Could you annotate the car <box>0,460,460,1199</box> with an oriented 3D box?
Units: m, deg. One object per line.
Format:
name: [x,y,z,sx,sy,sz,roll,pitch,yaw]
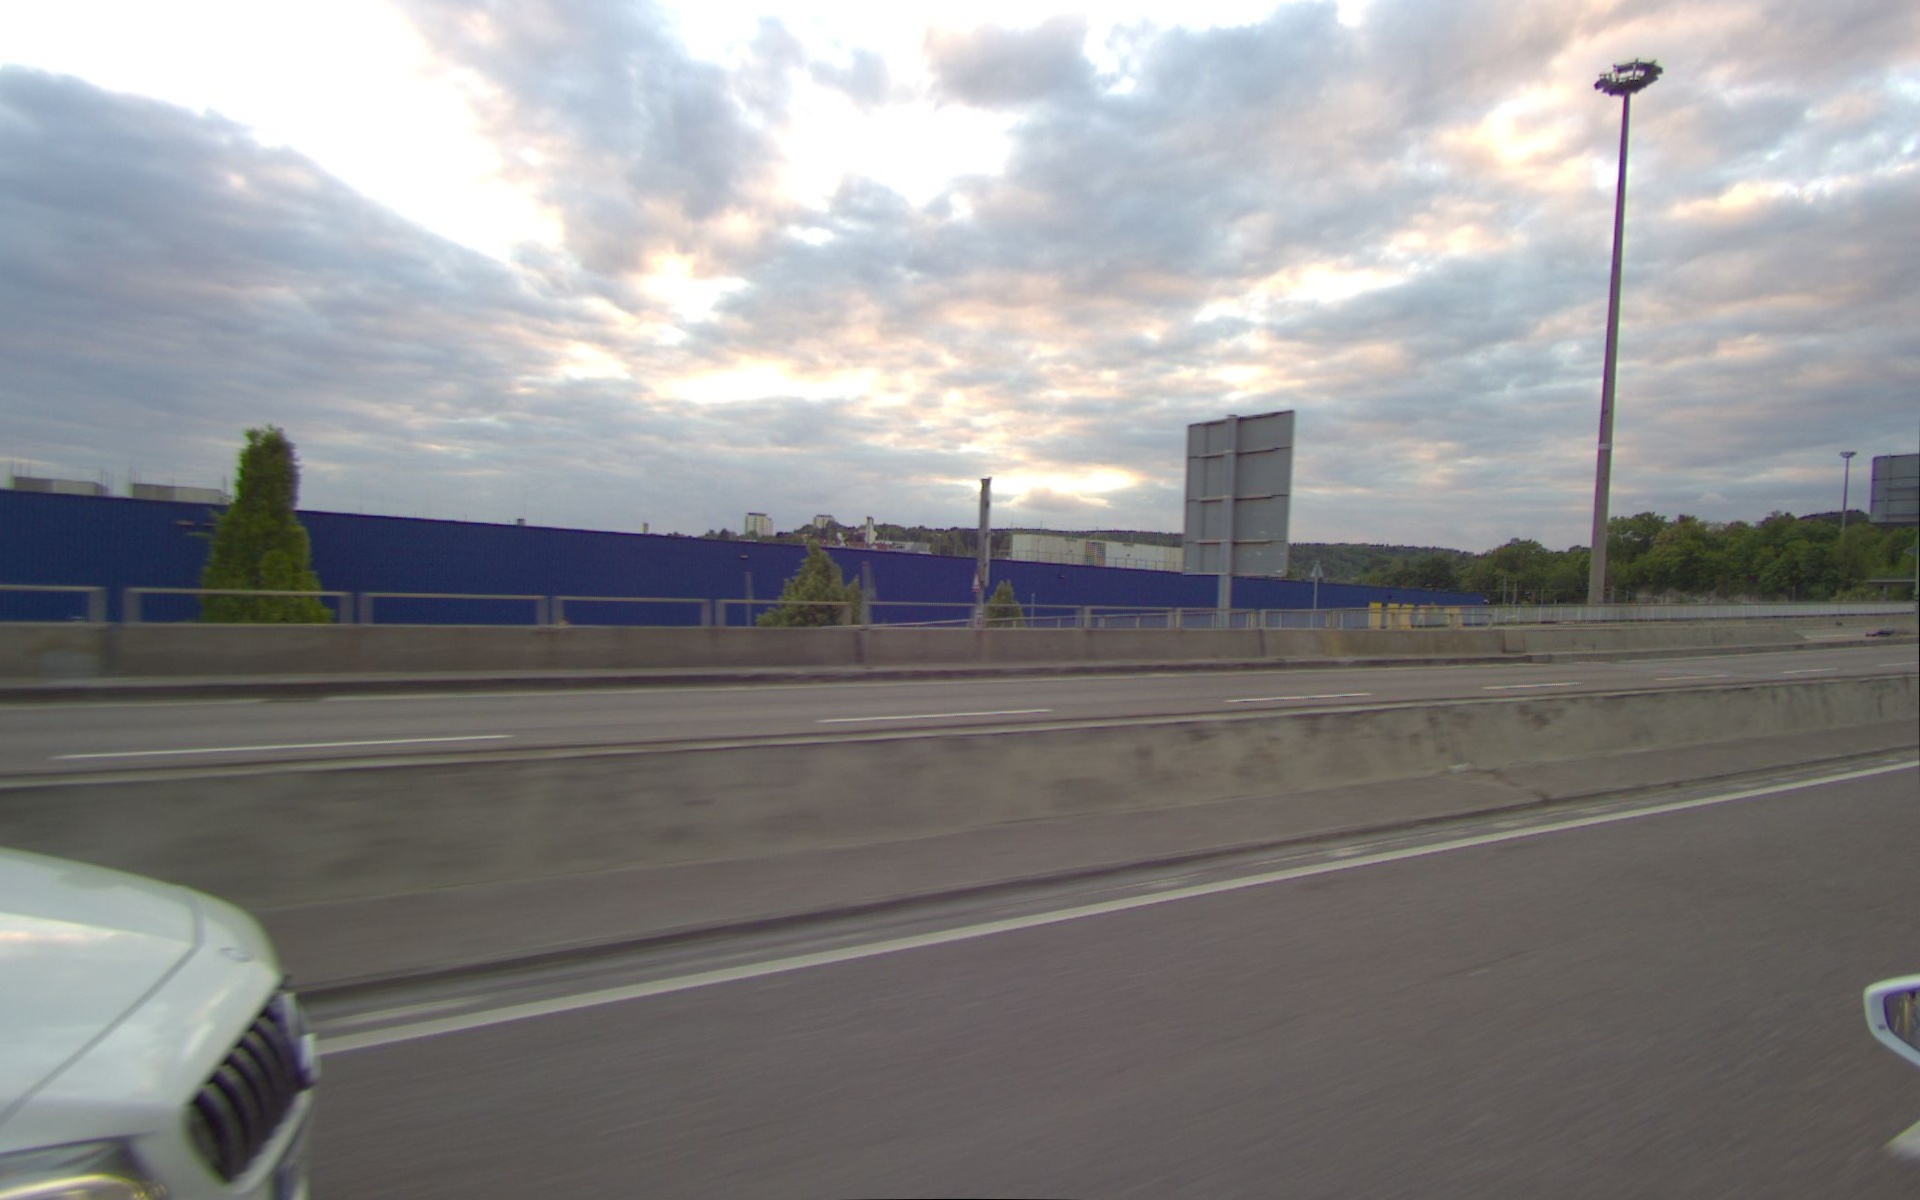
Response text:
car: [-3.080,0.599,0.799,4.726,1.557,1.683,1,0,-30]
